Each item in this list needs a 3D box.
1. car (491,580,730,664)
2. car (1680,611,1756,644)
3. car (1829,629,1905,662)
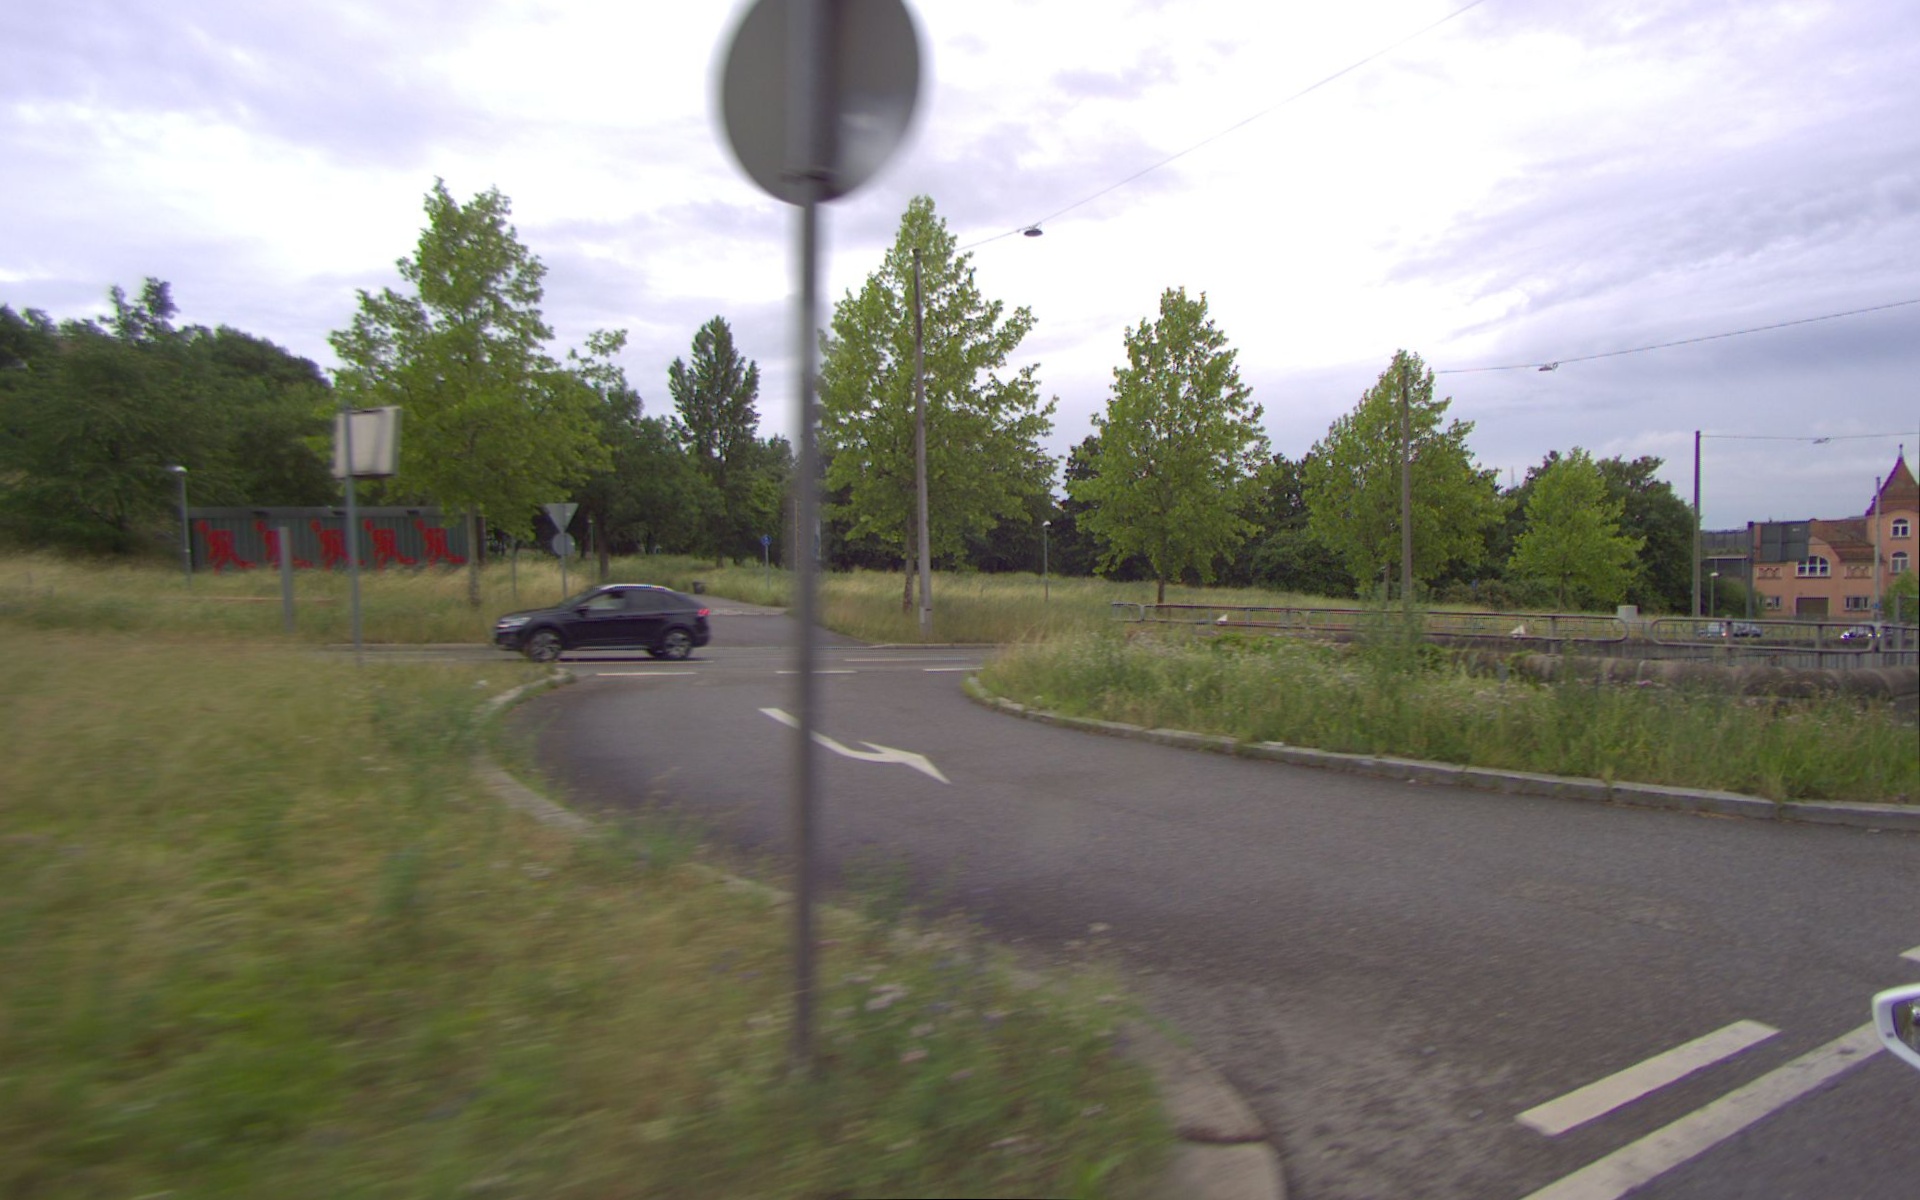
[{"bbox_3d":[-7.061,0.407,20.425,4.383,1.548,1.648,0,2,-30],"label":"car"},{"bbox_3d":[40.519,1.453,53.671,3.925,1.663,1.882,1,1,-30],"label":"car"},{"bbox_3d":[51.584,2.562,57.118,4.306,1.666,1.881,1,3,-30],"label":"car"}]
